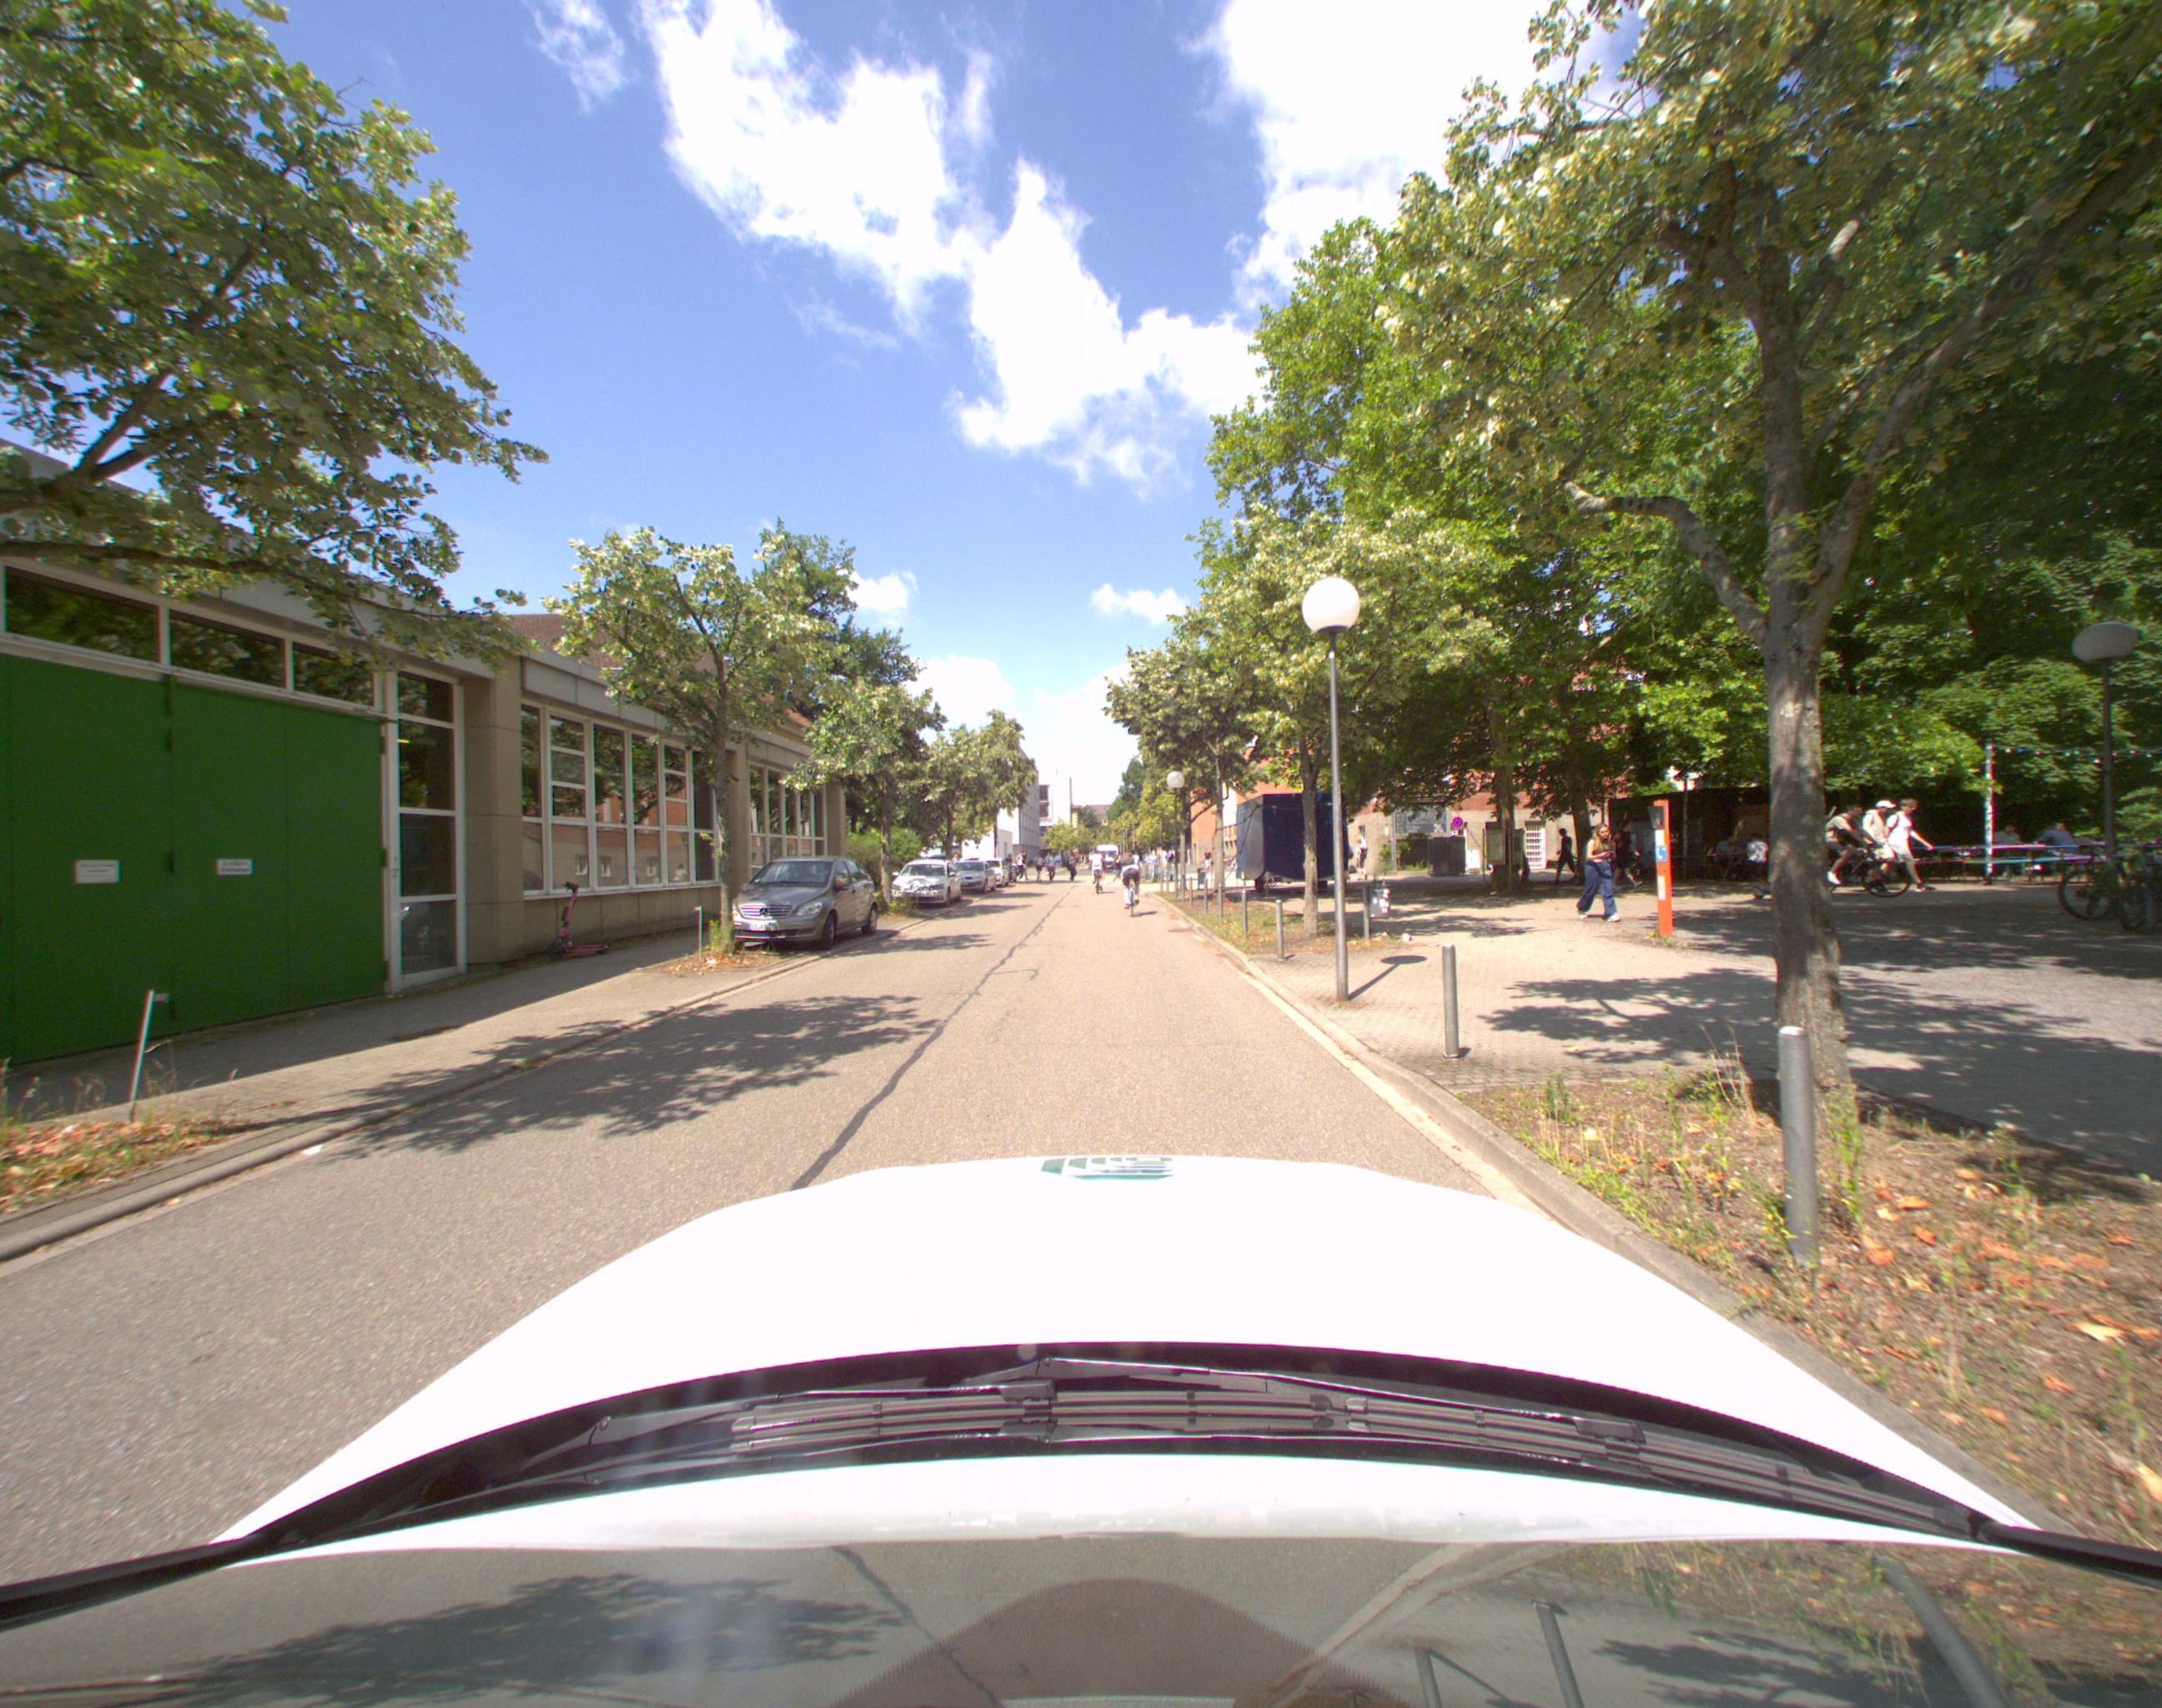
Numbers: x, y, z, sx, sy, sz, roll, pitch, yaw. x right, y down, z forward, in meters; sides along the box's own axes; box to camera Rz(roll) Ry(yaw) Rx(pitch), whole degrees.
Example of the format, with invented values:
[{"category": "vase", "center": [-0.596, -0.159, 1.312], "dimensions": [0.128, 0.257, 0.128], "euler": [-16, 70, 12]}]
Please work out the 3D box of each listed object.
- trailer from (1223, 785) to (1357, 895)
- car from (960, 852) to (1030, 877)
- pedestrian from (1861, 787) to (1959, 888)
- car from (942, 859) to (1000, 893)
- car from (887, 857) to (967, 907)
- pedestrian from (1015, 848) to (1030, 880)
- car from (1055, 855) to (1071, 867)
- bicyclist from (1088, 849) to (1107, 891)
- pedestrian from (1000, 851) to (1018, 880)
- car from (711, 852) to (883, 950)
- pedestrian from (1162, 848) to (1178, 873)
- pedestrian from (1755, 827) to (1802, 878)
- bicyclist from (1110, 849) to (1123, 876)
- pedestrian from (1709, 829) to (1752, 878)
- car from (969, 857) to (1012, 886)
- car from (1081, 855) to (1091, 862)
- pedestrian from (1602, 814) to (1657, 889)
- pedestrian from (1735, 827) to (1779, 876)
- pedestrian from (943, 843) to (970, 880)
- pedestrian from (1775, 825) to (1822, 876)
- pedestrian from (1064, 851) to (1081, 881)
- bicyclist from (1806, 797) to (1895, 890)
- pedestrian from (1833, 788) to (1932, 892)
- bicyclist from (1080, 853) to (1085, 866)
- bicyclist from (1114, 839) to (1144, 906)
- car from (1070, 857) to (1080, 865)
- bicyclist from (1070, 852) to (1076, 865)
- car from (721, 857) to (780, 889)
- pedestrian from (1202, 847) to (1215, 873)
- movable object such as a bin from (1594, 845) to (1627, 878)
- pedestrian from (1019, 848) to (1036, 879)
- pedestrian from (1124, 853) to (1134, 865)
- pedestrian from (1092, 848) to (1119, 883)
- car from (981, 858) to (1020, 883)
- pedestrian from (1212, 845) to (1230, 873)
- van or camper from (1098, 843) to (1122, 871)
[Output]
[{"category": "trailer", "center": [6.614, -0.398, 26.748], "dimensions": [2.683, 3.051, 6.257], "euler": [-3, 0, 0]}, {"category": "car", "center": [-6.067, 0.753, 57.566], "dimensions": [4.468, 1.619, 1.934], "euler": [1, -1, 20]}, {"category": "pedestrian", "center": [16.737, -0.323, 16.456], "dimensions": [0.835, 1.949, 1.072], "euler": [-3, 0, -19]}, {"category": "car", "center": [-4.640, 0.907, 35.025], "dimensions": [1.718, 1.343, 4.168], "euler": [0, 0, 3]}, {"category": "car", "center": [-4.871, 0.852, 26.349], "dimensions": [1.720, 1.456, 4.582], "euler": [0, 0, 0]}, {"category": "pedestrian", "center": [-3.675, 0.636, 51.129], "dimensions": [0.620, 1.980, 0.821], "euler": [-2, -2, -30]}, {"category": "car", "center": [-2.467, 0.965, 112.698], "dimensions": [1.787, 1.530, 4.006], "euler": [-2, 0, 5]}, {"category": "bicyclist", "center": [0.722, 0.686, 34.796], "dimensions": [0.768, 1.756, 0.848], "euler": [-1, 0, 1]}, {"category": "pedestrian", "center": [-4.556, 0.702, 51.446], "dimensions": [0.794, 1.772, 0.859], "euler": [2, 1, 26]}, {"category": "car", "center": [-5.058, 0.771, 15.145], "dimensions": [1.752, 1.556, 4.112], "euler": [0, 0, 0]}, {"category": "pedestrian", "center": [6.034, 0.429, 55.162], "dimensions": [0.952, 1.694, 0.707], "euler": [1, 2, 11]}, {"category": "pedestrian", "center": [19.327, -0.051, 22.575], "dimensions": [0.568, 1.346, 0.728], "euler": [-4, 0, -3]}, {"category": "bicyclist", "center": [2.333, 0.570, 53.916], "dimensions": [0.805, 1.756, 0.693], "euler": [-1, -1, 2]}, {"category": "pedestrian", "center": [18.681, -0.010, 23.428], "dimensions": [0.568, 1.346, 0.728], "euler": [-4, 0, -3]}, {"category": "car", "center": [-4.524, 0.851, 41.100], "dimensions": [1.656, 1.412, 3.808], "euler": [0, 0, 1]}, {"category": "car", "center": [1.024, 0.971, 179.102], "dimensions": [1.787, 1.530, 4.006], "euler": [-2, 0, 5]}, {"category": "pedestrian", "center": [14.004, -0.056, 20.812], "dimensions": [0.762, 1.855, 0.824], "euler": [-2, -1, 1]}, {"category": "pedestrian", "center": [19.489, -0.074, 23.473], "dimensions": [0.568, 1.346, 0.728], "euler": [-4, 0, -3]}, {"category": "pedestrian", "center": [-5.974, 0.387, 39.203], "dimensions": [0.713, 1.717, 1.096], "euler": [7, -5, -38]}, {"category": "pedestrian", "center": [19.902, -0.096, 22.608], "dimensions": [0.568, 1.346, 0.728], "euler": [-4, 0, -3]}, {"category": "pedestrian", "center": [-0.499, 0.723, 47.291], "dimensions": [0.704, 1.720, 0.986], "euler": [1, -1, -22]}, {"category": "bicyclist", "center": [14.907, -0.195, 15.805], "dimensions": [0.531, 1.729, 1.072], "euler": [-3, 0, -19]}, {"category": "pedestrian", "center": [15.844, -0.272, 16.128], "dimensions": [0.835, 1.949, 1.072], "euler": [-3, 0, -19]}, {"category": "bicyclist", "center": [0.218, 0.717, 108.698], "dimensions": [0.665, 1.681, 0.993], "euler": [-2, 0, 1]}, {"category": "bicyclist", "center": [1.235, 0.470, 20.832], "dimensions": [0.714, 1.662, 1.096], "euler": [0, -1, 4]}, {"category": "car", "center": [-1.386, 1.572, 179.185], "dimensions": [1.787, 1.530, 4.006], "euler": [-2, 0, 5]}, {"category": "bicyclist", "center": [-1.075, 0.599, 107.993], "dimensions": [0.641, 1.601, 0.909], "euler": [-2, 0, -1]}, {"category": "car", "center": [-21.923, 1.221, 54.169], "dimensions": [1.921, 1.768, 4.442], "euler": [-4, 1, 1]}, {"category": "pedestrian", "center": [8.300, 0.417, 52.961], "dimensions": [0.503, 1.630, 0.567], "euler": [-7, 2, -22]}, {"category": "movable object such as a bin", "center": [17.565, 0.266, 27.015], "dimensions": [0.597, 1.071, 0.742], "euler": [-1, -2, 2]}, {"category": "pedestrian", "center": [-3.415, 0.606, 52.036], "dimensions": [0.818, 1.980, 0.695], "euler": [2, 1, 25]}, {"category": "pedestrian", "center": [8.339, 0.816, 141.781], "dimensions": [1.495, 1.996, 1.646], "euler": [-4, 0, -1]}, {"category": "pedestrian", "center": [1.375, 0.645, 45.733], "dimensions": [1.102, 1.859, 0.860], "euler": [-1, 4, 39]}, {"category": "car", "center": [-4.621, 0.943, 47.306], "dimensions": [1.638, 1.300, 3.930], "euler": [-2, 0, 2]}, {"category": "pedestrian", "center": [9.111, 0.322, 53.158], "dimensions": [0.711, 1.787, 0.747], "euler": [-7, 2, -22]}, {"category": "van or camper", "center": [2.729, 0.300, 75.763], "dimensions": [1.984, 2.446, 4.574], "euler": [-2, -1, 4]}]
